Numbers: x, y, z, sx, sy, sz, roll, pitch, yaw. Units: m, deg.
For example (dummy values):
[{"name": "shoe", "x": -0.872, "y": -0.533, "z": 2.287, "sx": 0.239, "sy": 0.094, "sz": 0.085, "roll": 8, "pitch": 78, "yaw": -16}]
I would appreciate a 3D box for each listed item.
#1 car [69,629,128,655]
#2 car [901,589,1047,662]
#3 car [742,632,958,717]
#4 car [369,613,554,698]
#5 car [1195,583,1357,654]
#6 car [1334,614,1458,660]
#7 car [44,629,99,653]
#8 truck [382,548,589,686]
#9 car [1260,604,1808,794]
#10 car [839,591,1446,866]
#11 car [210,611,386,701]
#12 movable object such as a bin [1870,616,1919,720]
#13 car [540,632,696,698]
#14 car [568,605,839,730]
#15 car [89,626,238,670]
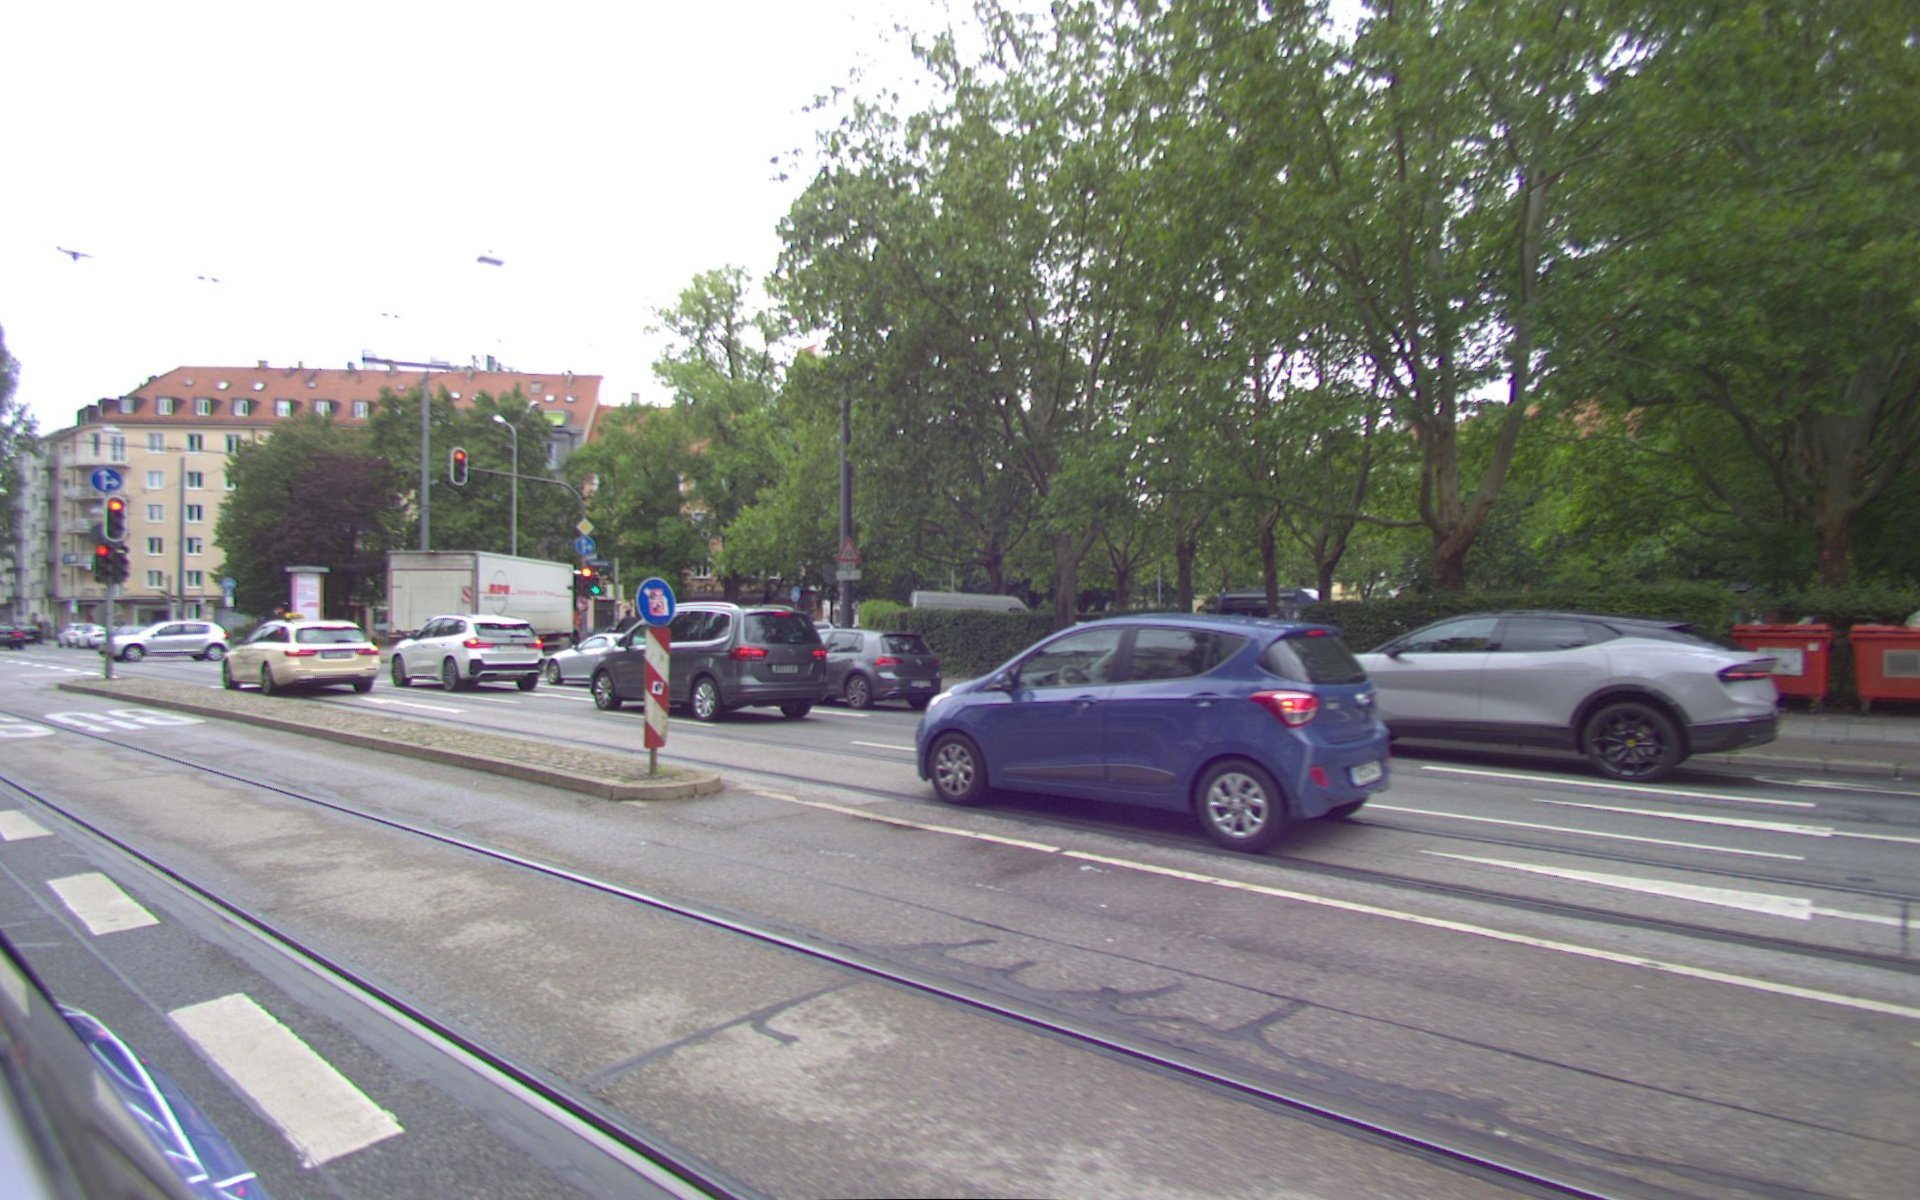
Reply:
[{"name": "car", "x": -49.948, "y": 2.423, "z": 58.648, "sx": 4.368, "sy": 1.418, "sz": 1.709, "roll": -1, "pitch": -2, "yaw": 38}, {"name": "car", "x": 0.432, "y": 0.888, "z": 34.240, "sx": 4.557, "sy": 2.029, "sz": 2.003, "roll": 5, "pitch": -3, "yaw": -6}, {"name": "car", "x": -2.146, "y": 1.313, "z": 19.039, "sx": 4.098, "sy": 1.391, "sz": 1.802, "roll": -1, "pitch": -2, "yaw": 43}, {"name": "car", "x": -11.143, "y": 1.165, "z": 22.485, "sx": 4.887, "sy": 1.696, "sz": 1.895, "roll": -1, "pitch": -2, "yaw": 40}, {"name": "car", "x": 12.542, "y": 0.795, "z": 40.491, "sx": 1.971, "sy": 2.554, "sz": 5.866, "roll": 0, "pitch": -3, "yaw": -45}, {"name": "car", "x": 17.003, "y": 1.461, "z": 39.544, "sx": 3.998, "sy": 1.674, "sz": 1.973, "roll": -4, "pitch": -3, "yaw": 41}, {"name": "car", "x": -54.168, "y": 2.450, "z": 61.692, "sx": 4.368, "sy": 1.418, "sz": 1.709, "roll": -1, "pitch": -2, "yaw": 38}, {"name": "truck", "x": -16.029, "y": 0.726, "z": 35.498, "sx": 2.706, "sy": 4.011, "sz": 11.729, "roll": 1, "pitch": -2, "yaw": -6}, {"name": "car", "x": 6.059, "y": 0.926, "z": 11.191, "sx": 4.999, "sy": 1.655, "sz": 1.780, "roll": -1, "pitch": -2, "yaw": 43}, {"name": "car", "x": 1.166, "y": 0.767, "z": 7.827, "sx": 4.354, "sy": 1.534, "sz": 1.780, "roll": -1, "pitch": -2, "yaw": 43}, {"name": "car", "x": -13.795, "y": 1.091, "z": 20.968, "sx": 4.888, "sy": 1.651, "sz": 1.803, "roll": -1, "pitch": -2, "yaw": 41}, {"name": "movable object such as a bin", "x": 13.726, "y": 0.950, "z": 14.393, "sx": 1.081, "sy": 1.363, "sz": 0.925, "roll": -1, "pitch": 4, "yaw": 38}, {"name": "car", "x": -8.181, "y": 1.508, "z": 24.049, "sx": 4.102, "sy": 1.422, "sz": 1.712, "roll": -1, "pitch": -5, "yaw": 43}, {"name": "car", "x": -4.191, "y": 0.974, "z": 16.043, "sx": 4.890, "sy": 1.696, "sz": 1.802, "roll": -1, "pitch": -2, "yaw": 43}, {"name": "car", "x": -30.314, "y": 1.811, "z": 38.616, "sx": 1.772, "sy": 1.536, "sz": 4.158, "roll": -3, "pitch": -3, "yaw": 35}]
